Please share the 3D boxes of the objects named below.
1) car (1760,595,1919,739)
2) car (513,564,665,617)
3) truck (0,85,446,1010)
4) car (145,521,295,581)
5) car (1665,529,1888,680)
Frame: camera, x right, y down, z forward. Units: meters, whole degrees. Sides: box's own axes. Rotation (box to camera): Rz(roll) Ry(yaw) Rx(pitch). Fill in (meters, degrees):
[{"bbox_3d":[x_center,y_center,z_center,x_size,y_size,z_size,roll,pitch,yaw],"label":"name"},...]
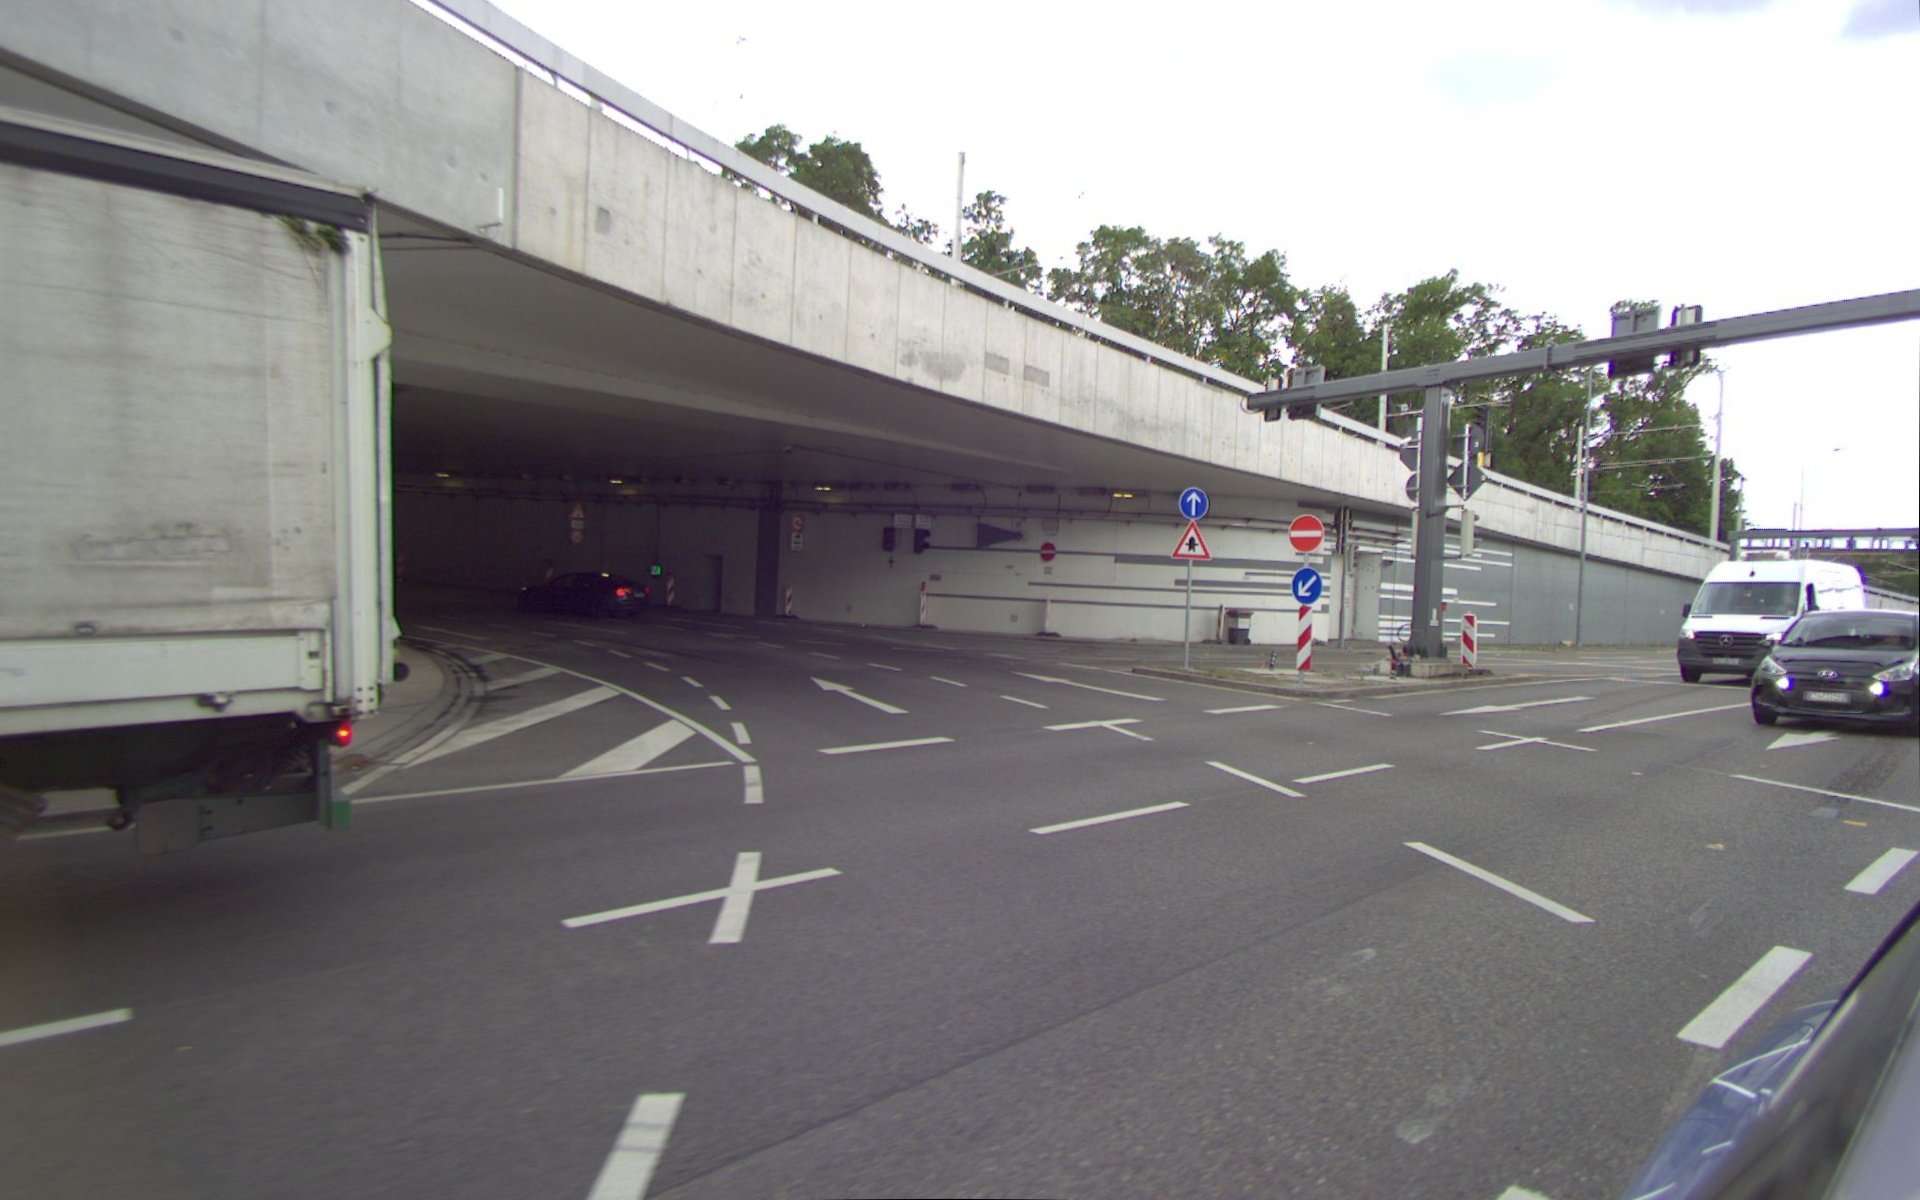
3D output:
[{"bbox_3d":[11.768,0.752,12.975,3.628,1.564,1.685,0,2,-41],"label":"car"},{"bbox_3d":[-12.071,-0.349,32.995,4.412,1.418,1.988,4,3,20],"label":"car"},{"bbox_3d":[-5.917,-0.248,3.094,7.293,3.225,2.655,1,0,-40],"label":"truck"},{"bbox_3d":[-28.536,-1.914,39.128,4.275,1.856,2.003,5,5,-3],"label":"car"},{"bbox_3d":[17.761,0.191,21.825,7.189,2.808,2.081,3,-1,-37],"label":"car"}]
